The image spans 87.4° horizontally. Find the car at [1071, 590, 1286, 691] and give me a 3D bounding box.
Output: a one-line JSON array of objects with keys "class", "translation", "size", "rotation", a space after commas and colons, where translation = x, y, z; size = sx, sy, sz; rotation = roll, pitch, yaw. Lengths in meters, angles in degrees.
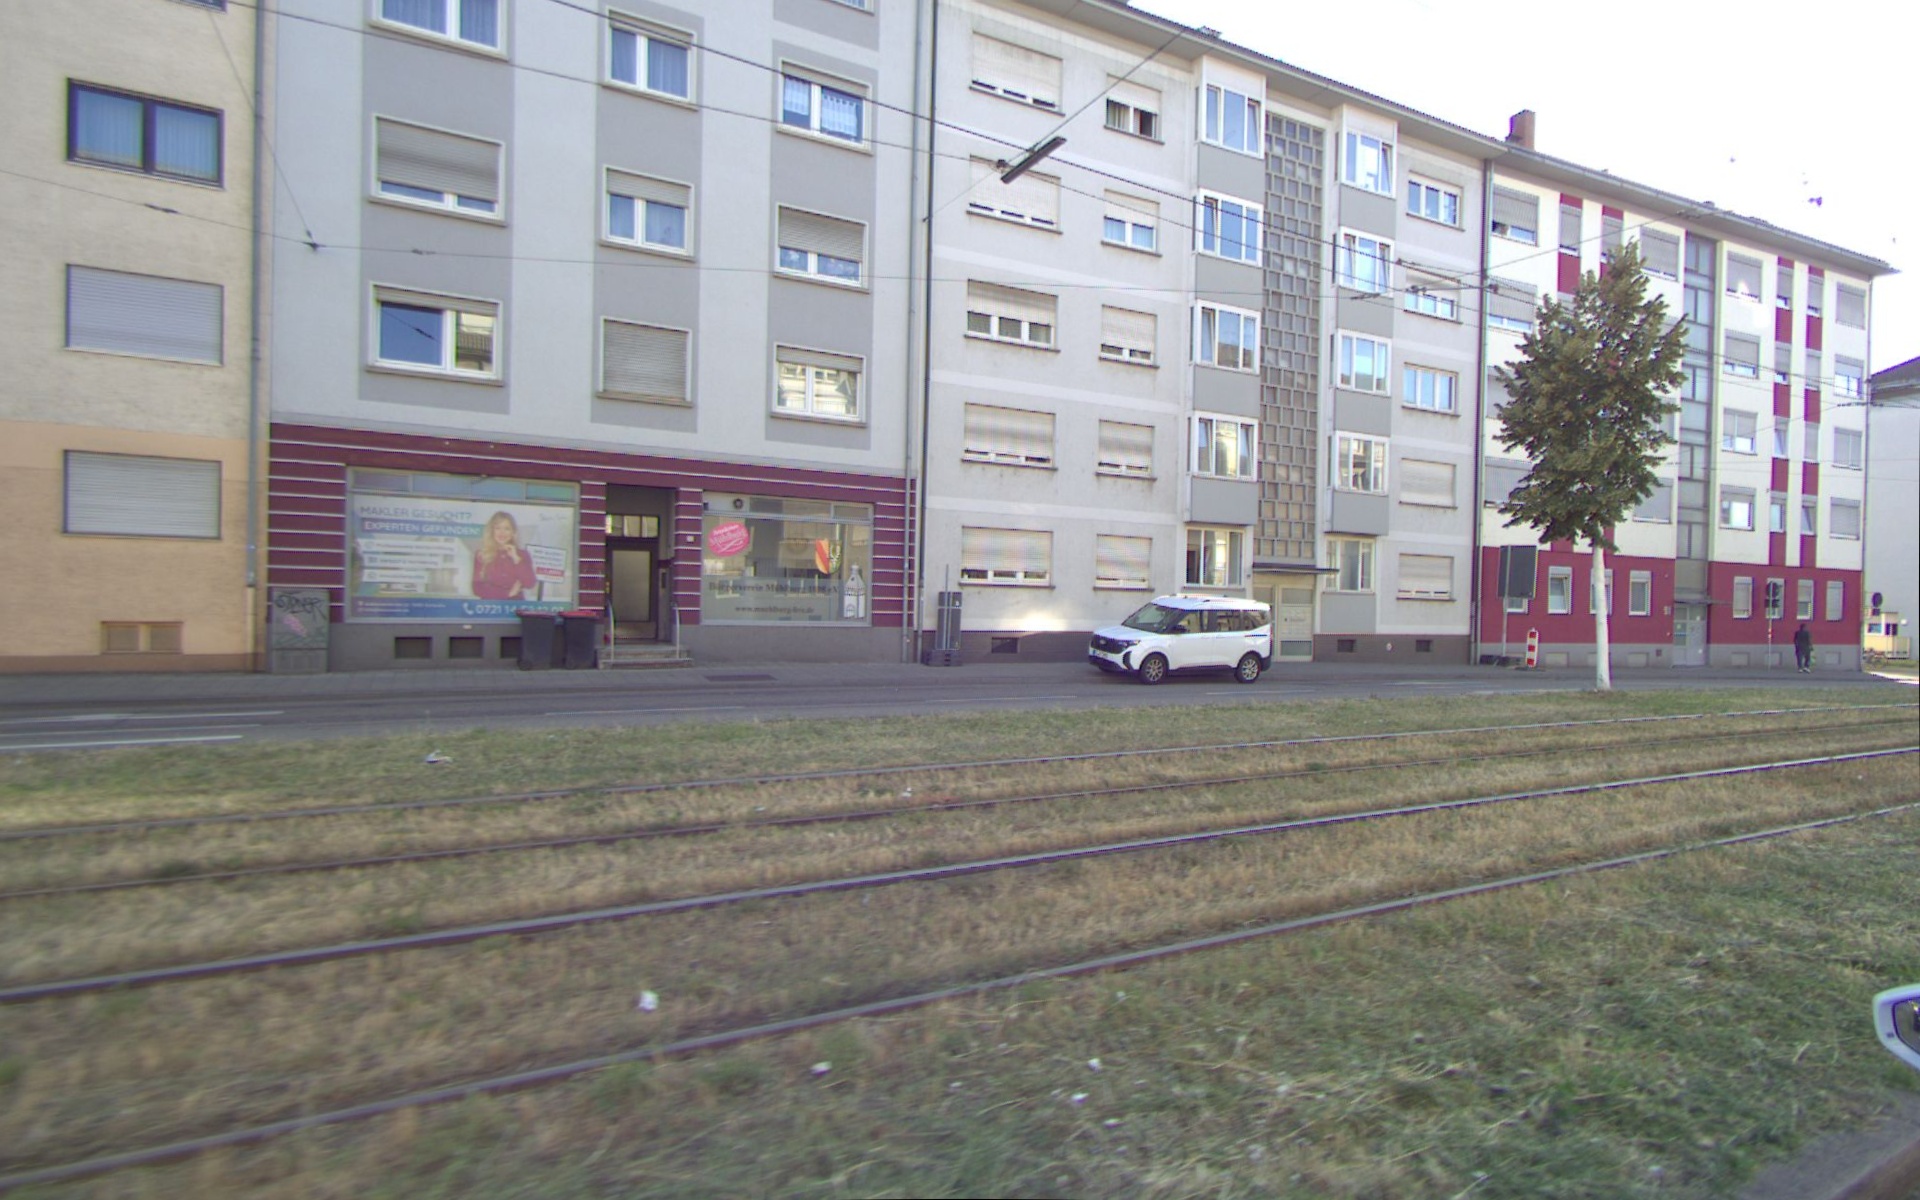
[{"class": "car", "translation": [4.881, 0.884, 22.371], "size": [4.365, 1.854, 1.859], "rotation": [2, 7, -28]}]

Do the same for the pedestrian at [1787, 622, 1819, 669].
[{"class": "pedestrian", "translation": [31.379, 1.703, 37.378], "size": [0.781, 1.712, 0.611], "rotation": [1, 1, -25]}]

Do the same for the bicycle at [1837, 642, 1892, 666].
[{"class": "bicycle", "translation": [45.246, 2.712, 50.246], "size": [0.598, 1.090, 1.941], "rotation": [2, 0, -36]}]
